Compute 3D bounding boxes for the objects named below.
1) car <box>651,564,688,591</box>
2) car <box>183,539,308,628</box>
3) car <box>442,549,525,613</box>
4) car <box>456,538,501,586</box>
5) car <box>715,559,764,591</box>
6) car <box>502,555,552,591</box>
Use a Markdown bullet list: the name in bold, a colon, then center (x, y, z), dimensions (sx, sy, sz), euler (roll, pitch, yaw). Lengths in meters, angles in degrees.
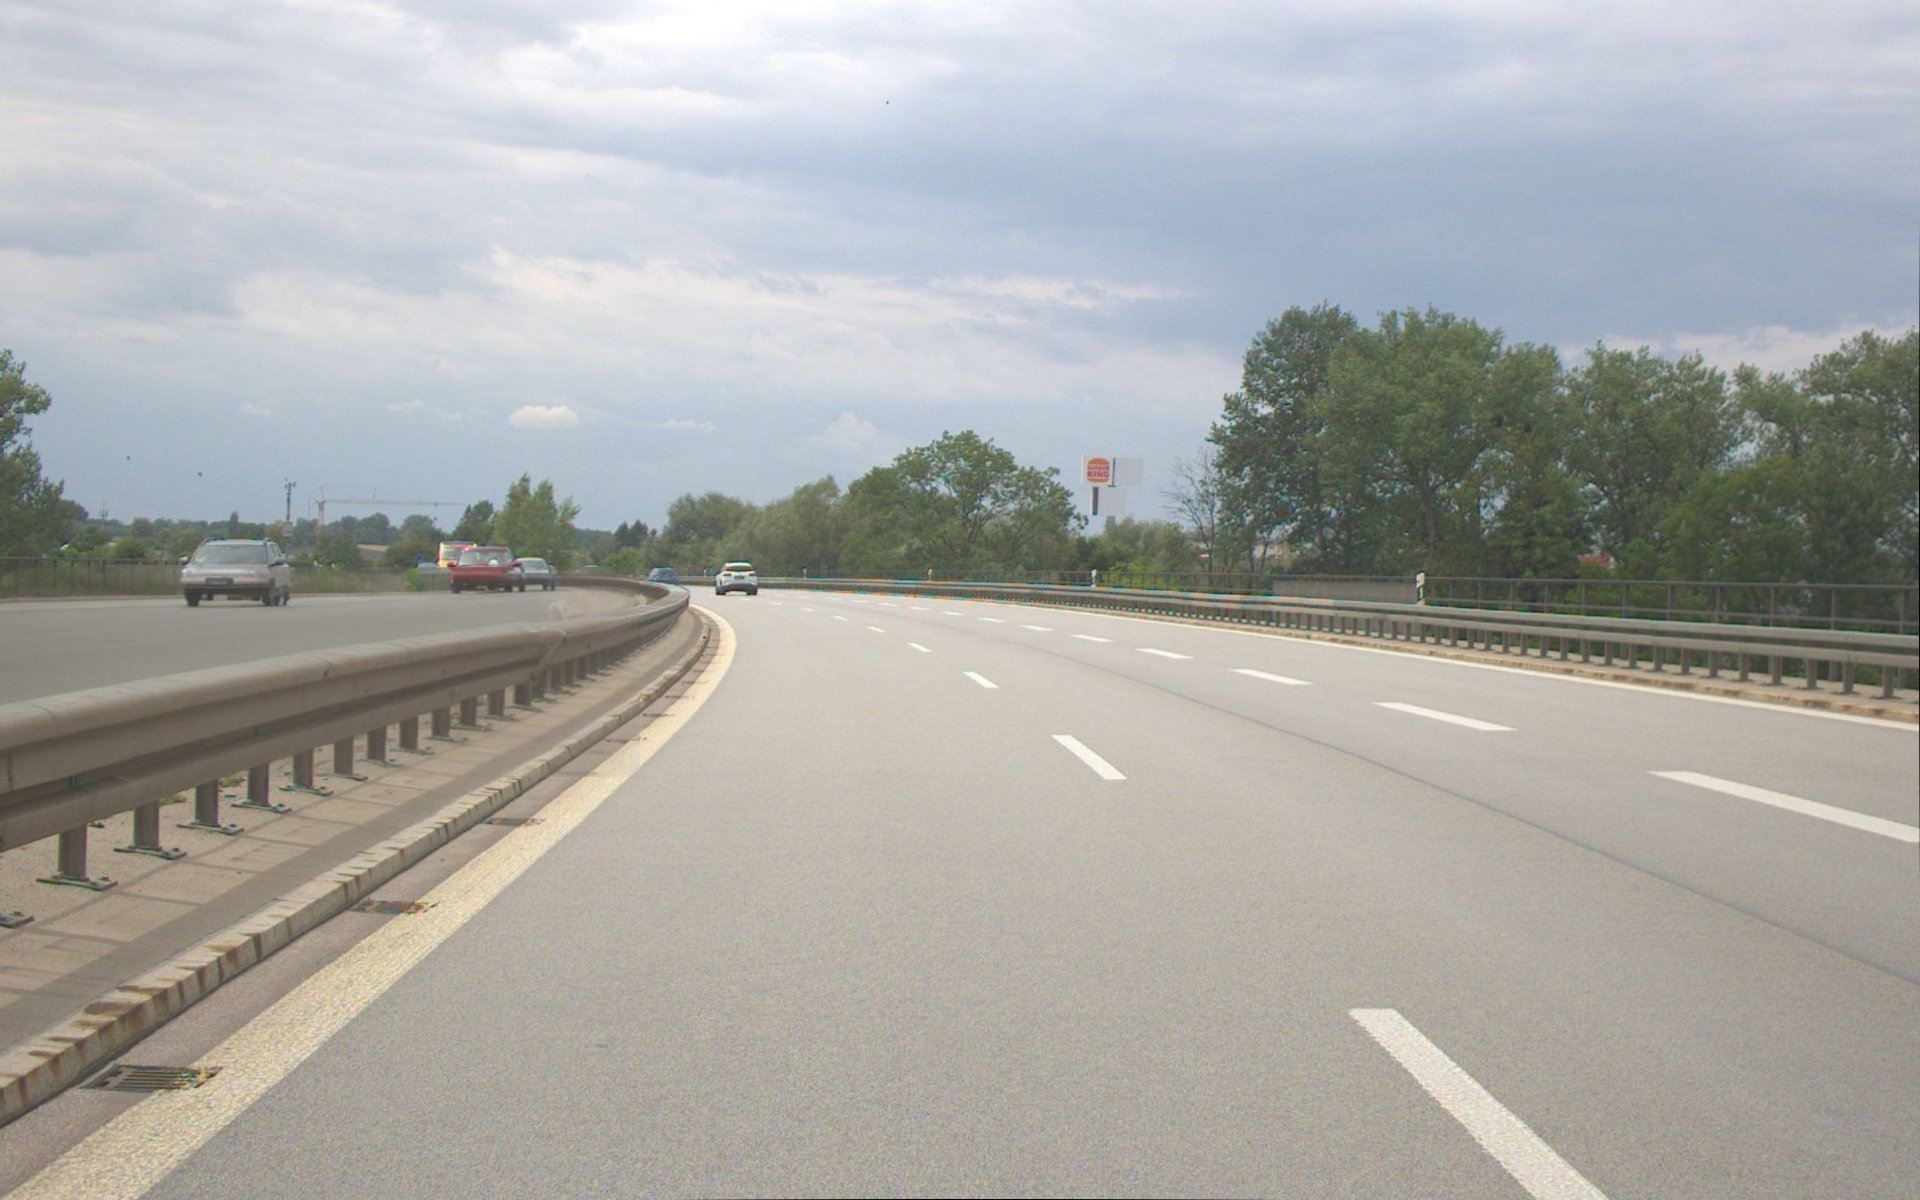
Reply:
- **car**: center (-18.598, -1.433, 219.957), dimensions (1.892, 1.634, 4.623), euler (1, 1, -11)
- **car**: center (-13.915, -0.337, 67.161), dimensions (1.709, 1.635, 4.569), euler (1, 1, -3)
- **car**: center (-12.831, -0.530, 92.799), dimensions (1.812, 1.635, 4.569), euler (1, 1, -3)
- **car**: center (-23.836, -1.879, 170.422), dimensions (1.993, 2.285, 6.399), euler (1, 1, -6)
- **car**: center (-11.317, -1.279, 176.083), dimensions (1.902, 1.634, 4.397), euler (1, 0, -11)
- **car**: center (-18.651, -1.168, 148.366), dimensions (1.728, 1.401, 4.250), euler (6, 0, -3)
